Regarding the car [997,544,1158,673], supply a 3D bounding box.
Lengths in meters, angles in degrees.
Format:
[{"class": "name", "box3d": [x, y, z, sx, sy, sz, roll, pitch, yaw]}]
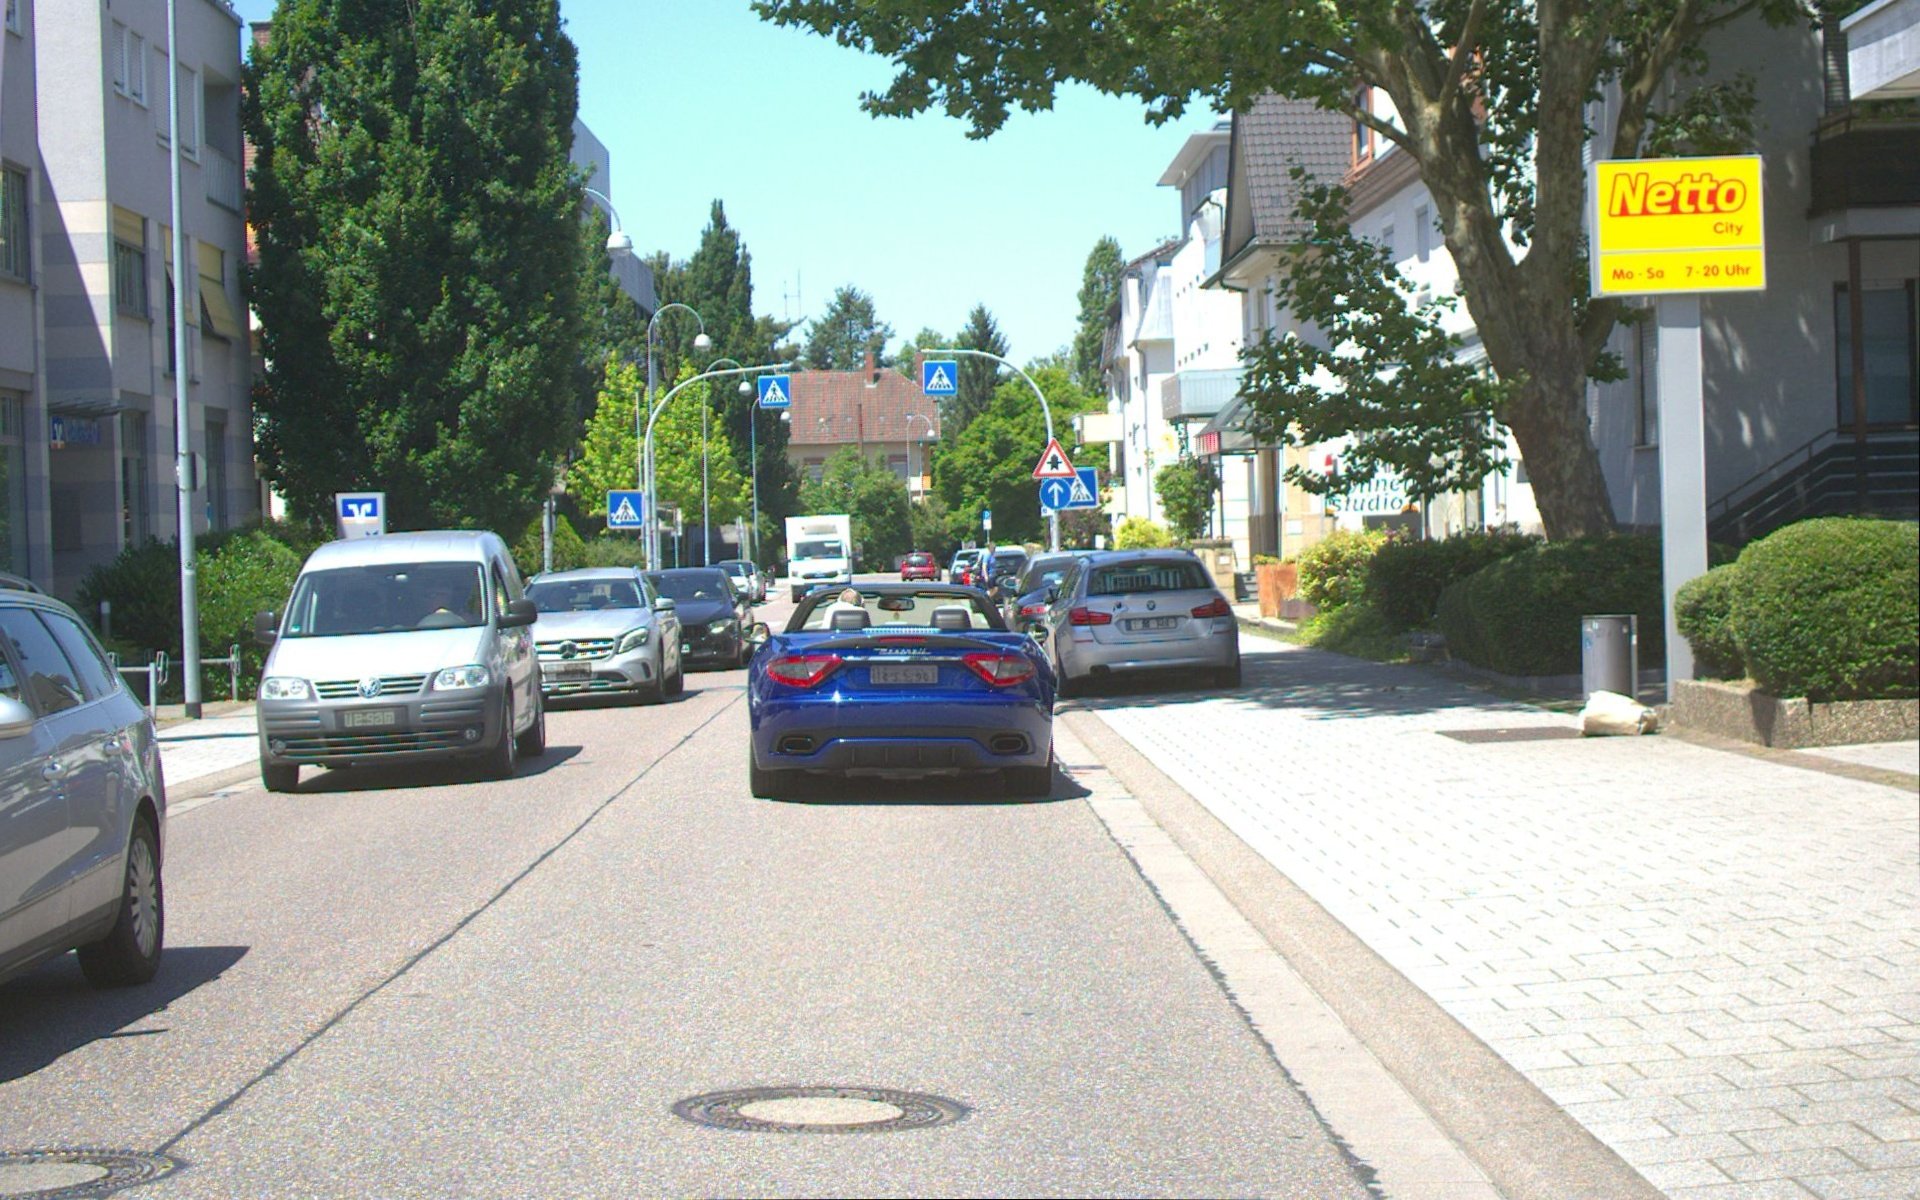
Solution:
[{"class": "car", "box3d": [1.603, 0.084, 48.401, 1.976, 1.551, 4.349, -4, 2, 0]}]

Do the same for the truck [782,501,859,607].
[{"class": "truck", "box3d": [-4.880, -1.619, 119.881, 2.420, 3.470, 7.004, -3, 1, -3]}]

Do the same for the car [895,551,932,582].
[{"class": "car", "box3d": [-2.321, -1.664, 171.683, 1.769, 1.471, 4.138, -1, 0, -1]}]

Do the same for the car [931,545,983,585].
[{"class": "car", "box3d": [-0.131, -1.432, 138.085, 1.950, 1.471, 4.138, -3, 1, -1]}]

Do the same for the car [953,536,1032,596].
[{"class": "car", "box3d": [0.858, -0.939, 93.093, 1.950, 1.471, 4.138, -3, 1, -1]}]

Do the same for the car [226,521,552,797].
[{"class": "car", "box3d": [-4.122, 0.352, 25.416, 1.769, 1.761, 4.138, -3, 2, -2]}]

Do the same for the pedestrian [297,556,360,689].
[{"class": "pedestrian", "box3d": [-7.586, 0.264, 41.329, 0.587, 1.569, 0.781, -2, 1, -1]}]

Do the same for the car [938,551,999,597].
[{"class": "car", "box3d": [0.285, -0.943, 121.356, 1.950, 1.471, 4.138, -3, 1, -1]}]

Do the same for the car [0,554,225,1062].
[{"class": "car", "box3d": [-3.853, 0.665, 11.044, 1.949, 1.503, 4.796, -3, 0, -1]}]

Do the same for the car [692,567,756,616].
[{"class": "car", "box3d": [-7.784, -0.293, 113.757, 1.950, 1.471, 4.138, -3, 1, -3]}]

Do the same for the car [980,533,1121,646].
[{"class": "car", "box3d": [1.394, -0.202, 54.570, 1.976, 1.551, 4.349, -4, 2, 0]}]

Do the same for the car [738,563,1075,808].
[{"class": "car", "box3d": [-0.408, 0.479, 22.618, 1.976, 1.393, 4.627, -1, 1, -2]}]

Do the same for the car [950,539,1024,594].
[{"class": "car", "box3d": [0.771, -0.982, 99.993, 1.950, 1.471, 4.138, -3, 1, -1]}]

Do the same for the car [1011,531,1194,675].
[{"class": "car", "box3d": [1.726, -0.006, 43.043, 1.976, 1.551, 4.349, -4, 2, 0]}]

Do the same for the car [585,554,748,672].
[{"class": "car", "box3d": [-4.076, 0.145, 48.337, 1.950, 1.471, 4.138, -3, 1, -1]}]

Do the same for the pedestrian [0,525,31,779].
[{"class": "pedestrian", "box3d": [-6.695, 0.353, 23.143, 0.631, 1.685, 0.961, 0, -1, -1]}]

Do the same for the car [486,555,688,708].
[{"class": "car", "box3d": [-4.022, 0.301, 37.655, 1.769, 1.471, 4.138, -3, 1, -1]}]

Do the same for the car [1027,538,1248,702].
[{"class": "car", "box3d": [1.797, 0.160, 36.154, 1.976, 1.445, 4.349, -4, 2, 0]}]

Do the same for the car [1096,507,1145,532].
[{"class": "car", "box3d": [10.413, -5.191, 222.287, 1.952, 1.471, 4.134, -3, 1, 20]}]
